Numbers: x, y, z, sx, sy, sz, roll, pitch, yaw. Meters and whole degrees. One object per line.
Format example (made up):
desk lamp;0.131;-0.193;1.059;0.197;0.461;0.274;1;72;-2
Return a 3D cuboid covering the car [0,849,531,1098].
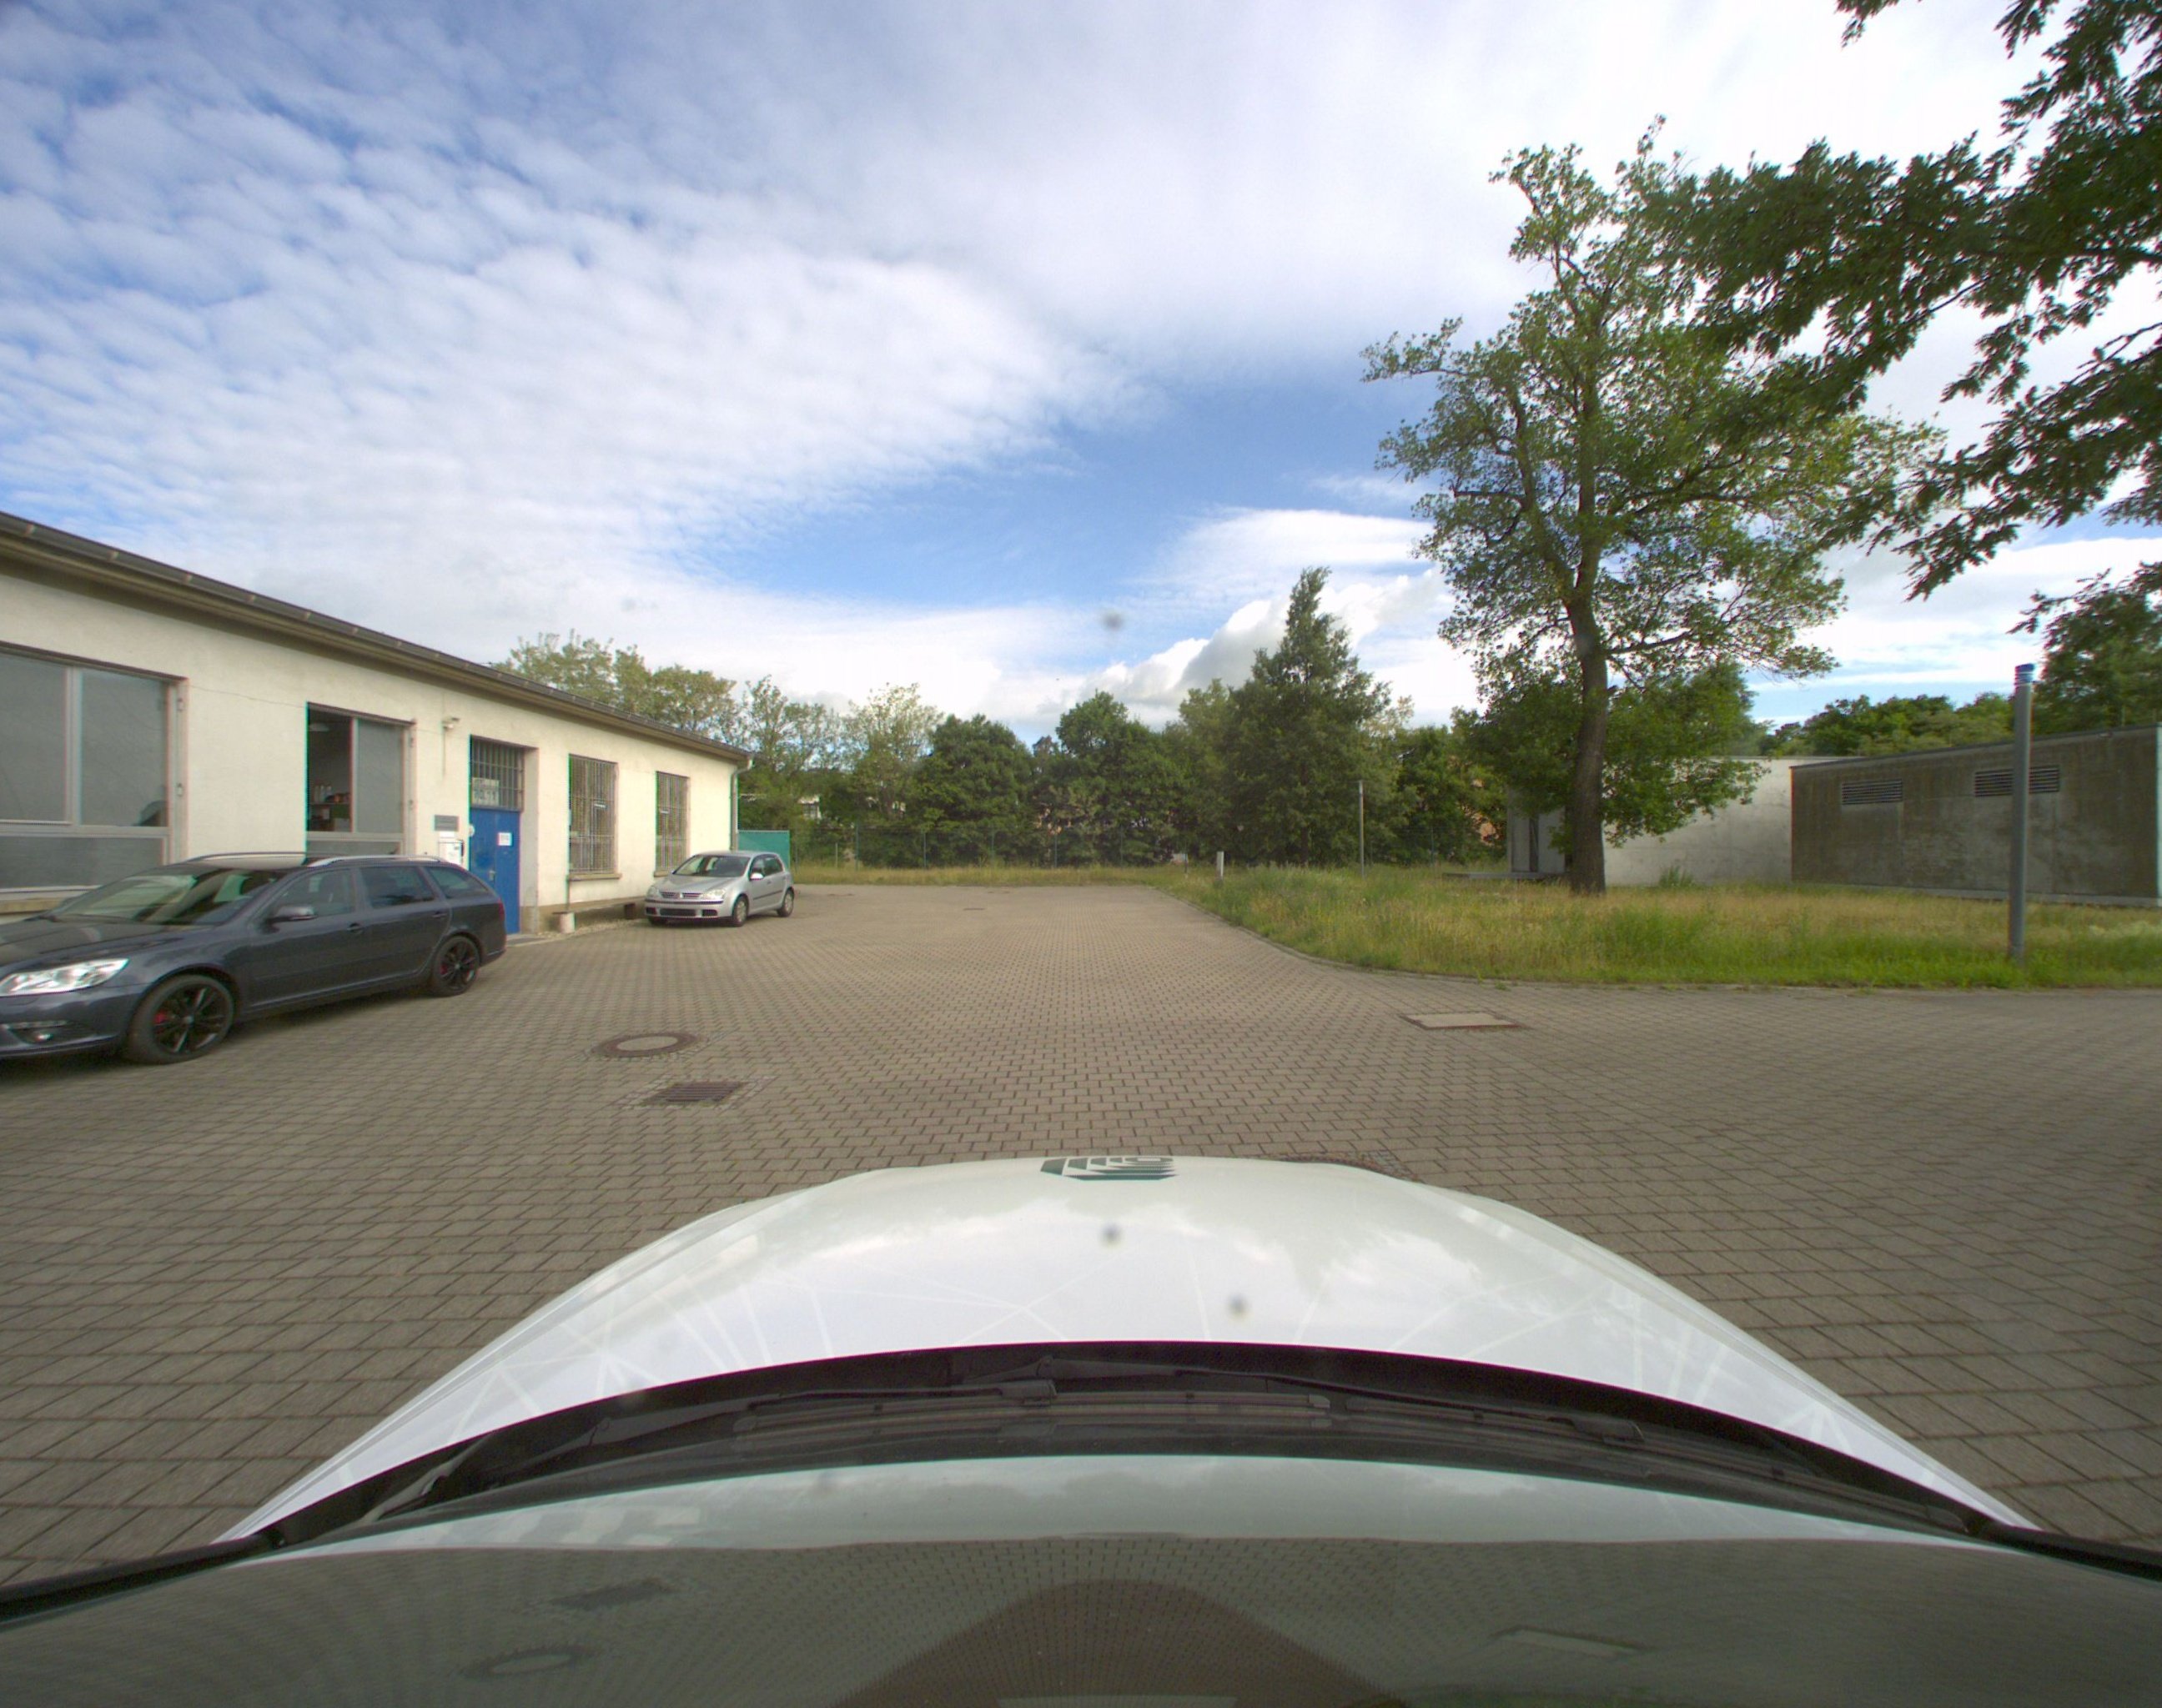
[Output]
car;-7.386;0.699;7.180;1.919;1.461;4.807;0;1;-2

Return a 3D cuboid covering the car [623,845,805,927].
car;-7.494;0.573;17.190;1.920;1.439;4.365;2;0;-2
